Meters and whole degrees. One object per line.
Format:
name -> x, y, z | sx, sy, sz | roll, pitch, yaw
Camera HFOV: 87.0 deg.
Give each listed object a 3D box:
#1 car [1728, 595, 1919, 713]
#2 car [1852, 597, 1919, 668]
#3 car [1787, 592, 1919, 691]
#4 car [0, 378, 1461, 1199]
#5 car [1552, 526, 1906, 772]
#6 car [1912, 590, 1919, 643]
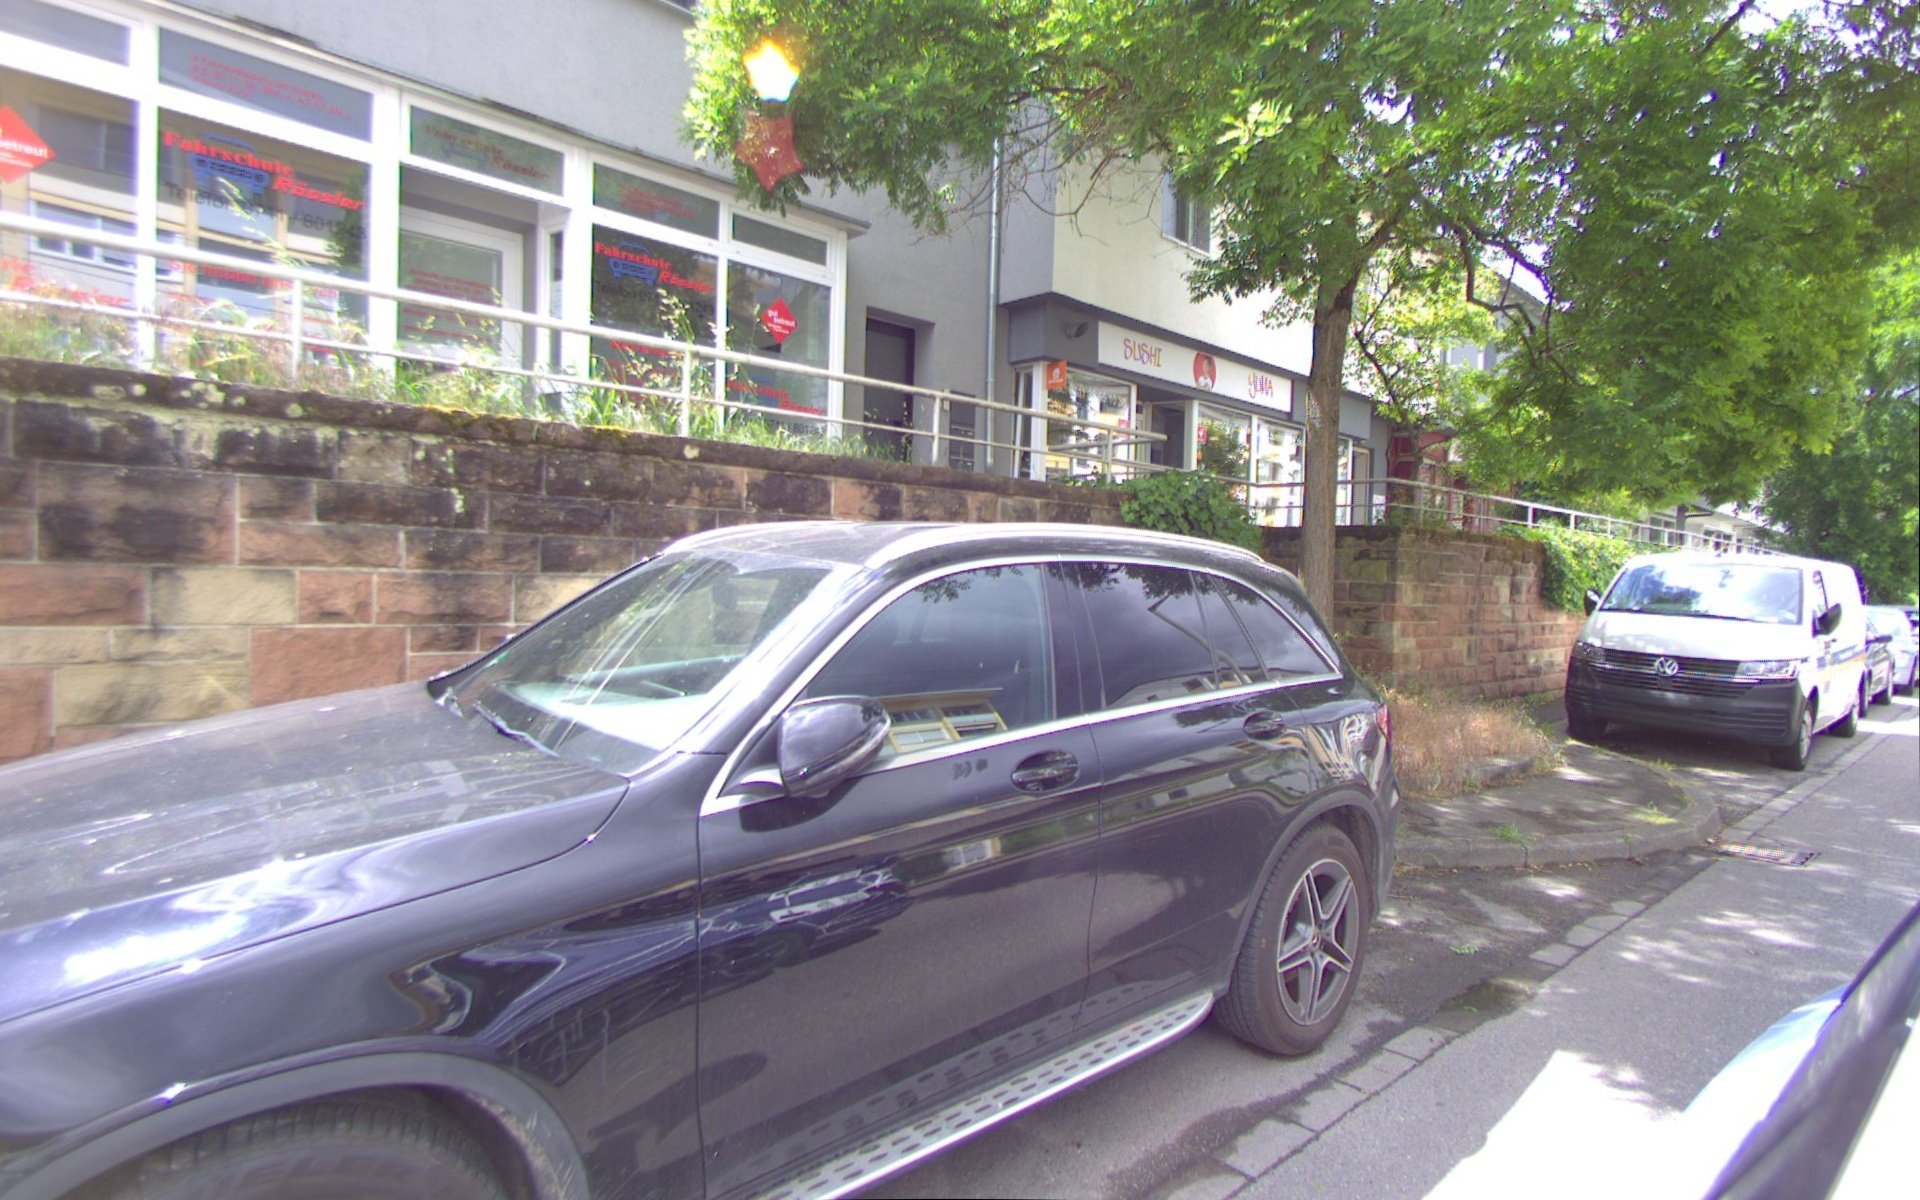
car -> 12.533, 0.683, 14.614 | 3.669, 1.446, 1.577 | 0, 1, -41
car -> 21.288, 0.685, 22.415 | 4.075, 1.446, 1.783 | 0, 1, -41
car -> 16.162, 0.654, 17.940 | 4.076, 1.445, 1.783 | 0, 4, -44
car -> -0.432, 0.513, 2.913 | 4.371, 1.637, 1.793 | 0, 4, -42
car -> 8.203, 0.370, 10.601 | 4.925, 1.994, 1.977 | 0, 1, -41
car -> 32.285, 0.555, 32.803 | 4.078, 1.674, 1.816 | 0, 2, -44
